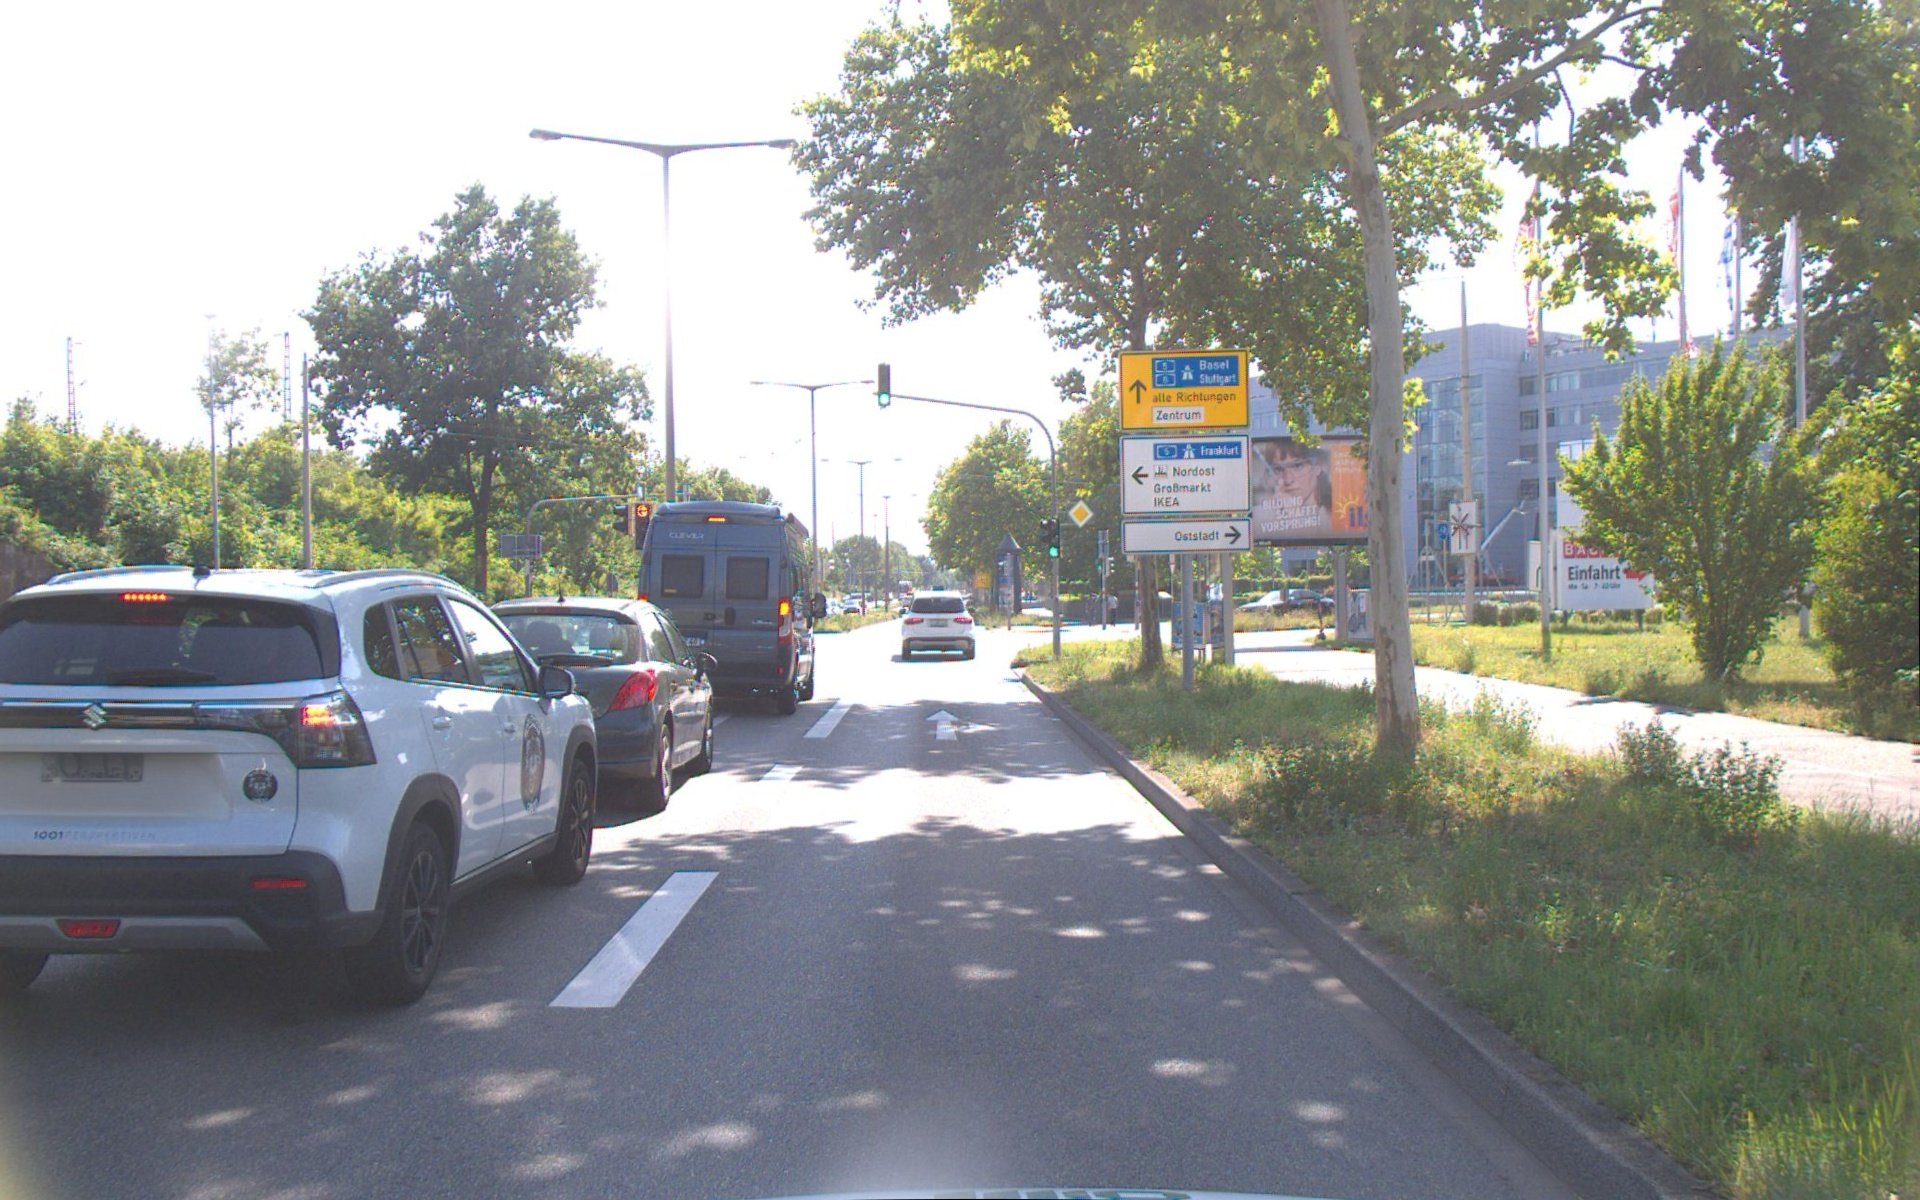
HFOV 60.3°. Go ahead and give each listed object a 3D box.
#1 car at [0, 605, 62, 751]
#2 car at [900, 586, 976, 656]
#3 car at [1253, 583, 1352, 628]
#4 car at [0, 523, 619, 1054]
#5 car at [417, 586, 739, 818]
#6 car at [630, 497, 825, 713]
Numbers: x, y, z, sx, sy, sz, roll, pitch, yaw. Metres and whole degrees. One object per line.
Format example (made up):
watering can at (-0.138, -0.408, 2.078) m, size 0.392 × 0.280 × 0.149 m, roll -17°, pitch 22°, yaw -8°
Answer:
car at (-10.844, 0.864, 16.360) m, size 1.703 × 1.512 × 4.157 m, roll -3°, pitch 0°, yaw -2°
car at (-0.511, 0.487, 41.588) m, size 1.815 × 1.635 × 4.001 m, roll 0°, pitch 1°, yaw 1°
car at (14.279, 0.220, 69.063) m, size 3.721 × 1.788 × 1.599 m, roll 1°, pitch 0°, yaw -10°
car at (-2.790, 0.606, 7.276) m, size 1.735 × 1.676 × 4.084 m, roll 0°, pitch 0°, yaw 0°
car at (-2.822, 0.679, 13.042) m, size 1.657 × 1.531 × 3.885 m, roll 1°, pitch 0°, yaw -1°
car at (-3.124, 0.072, 23.240) m, size 2.039 × 2.703 × 4.873 m, roll 1°, pitch 0°, yaw 0°
